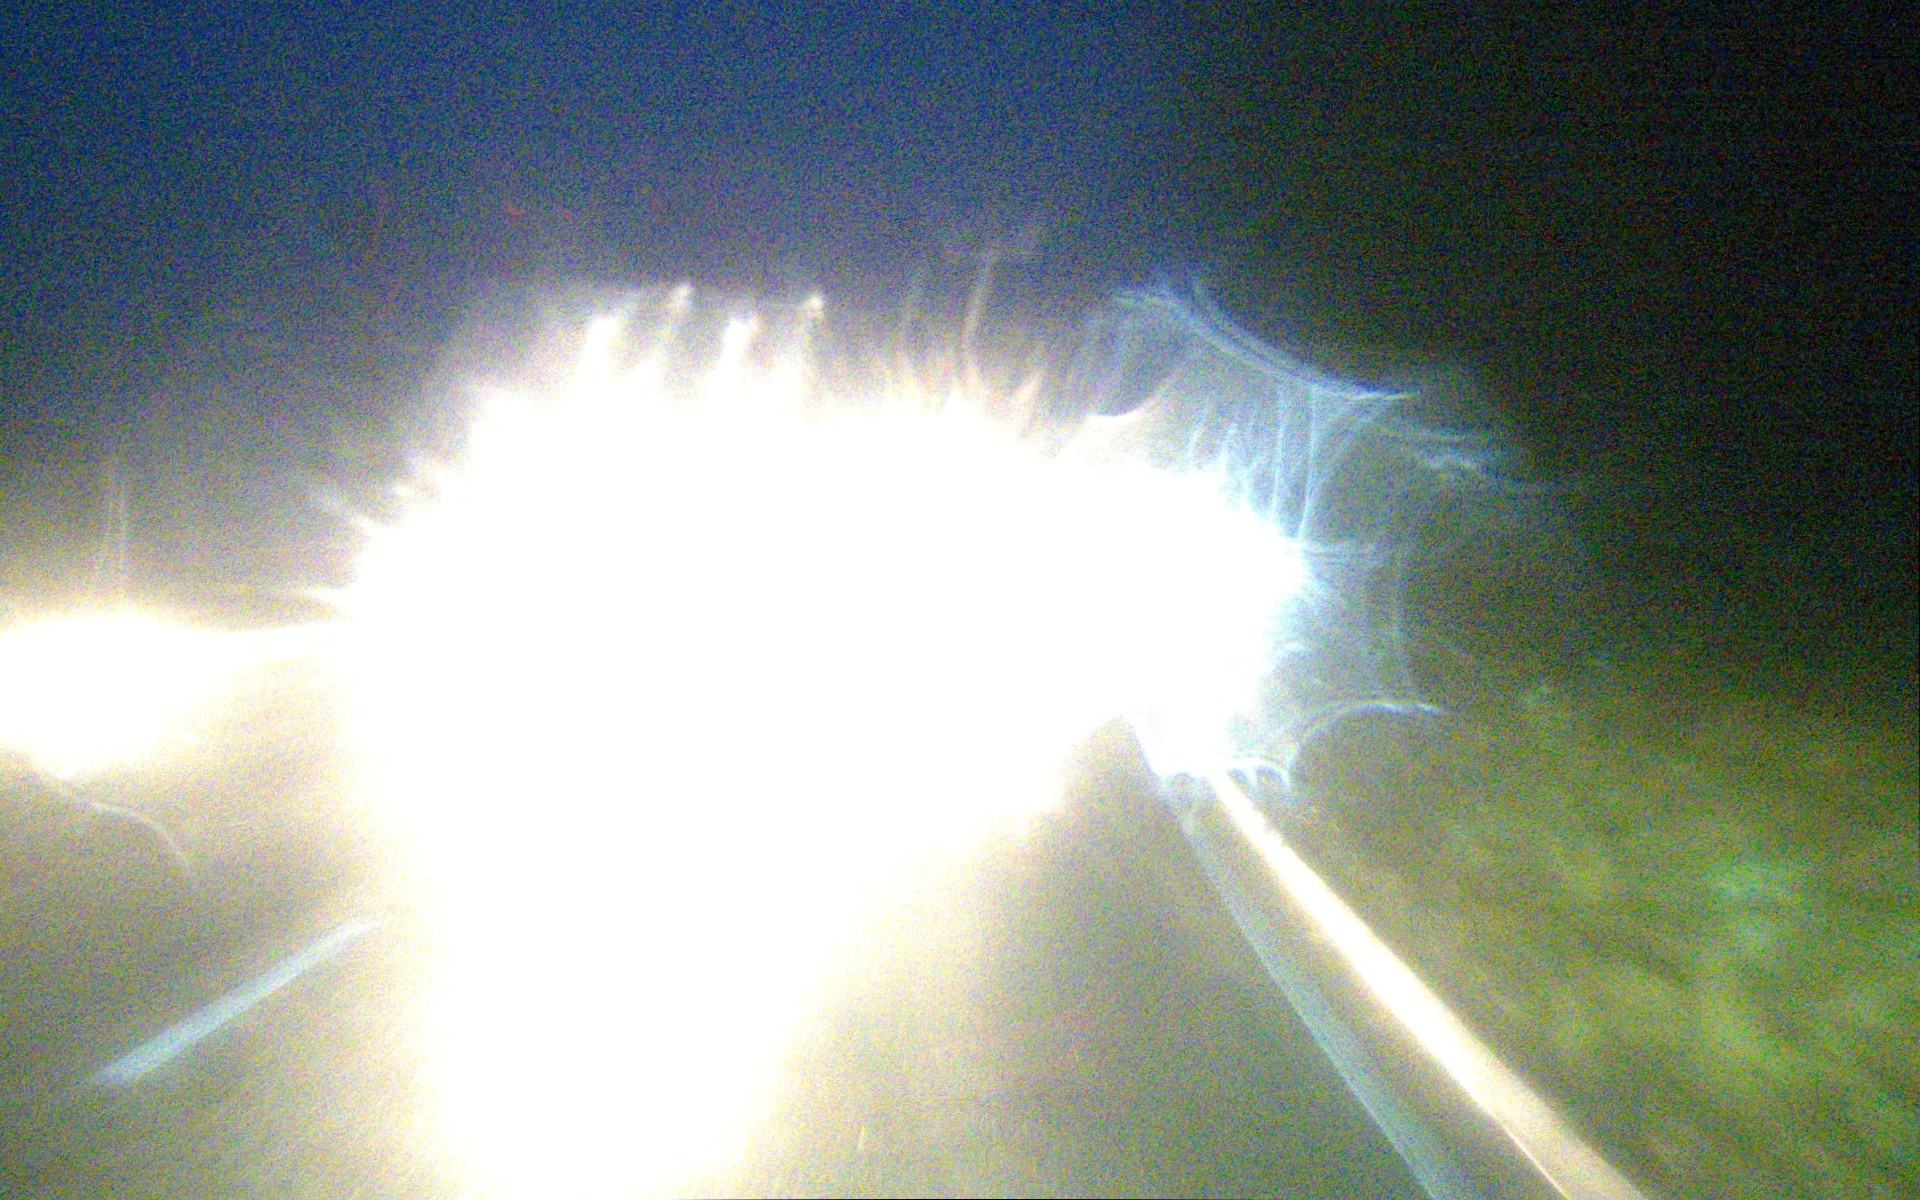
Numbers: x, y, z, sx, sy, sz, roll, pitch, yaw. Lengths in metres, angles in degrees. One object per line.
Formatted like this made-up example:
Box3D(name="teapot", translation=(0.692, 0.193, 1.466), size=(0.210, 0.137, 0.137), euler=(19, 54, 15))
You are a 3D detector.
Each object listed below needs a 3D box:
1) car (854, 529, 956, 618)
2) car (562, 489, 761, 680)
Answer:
Box3D(name="car", translation=(-1.155, -0.591, 73.565), size=(1.993, 1.650, 4.001), euler=(-4, 2, 0))
Box3D(name="car", translation=(-3.022, -0.193, 35.510), size=(1.757, 1.861, 4.000), euler=(0, 1, -1))
